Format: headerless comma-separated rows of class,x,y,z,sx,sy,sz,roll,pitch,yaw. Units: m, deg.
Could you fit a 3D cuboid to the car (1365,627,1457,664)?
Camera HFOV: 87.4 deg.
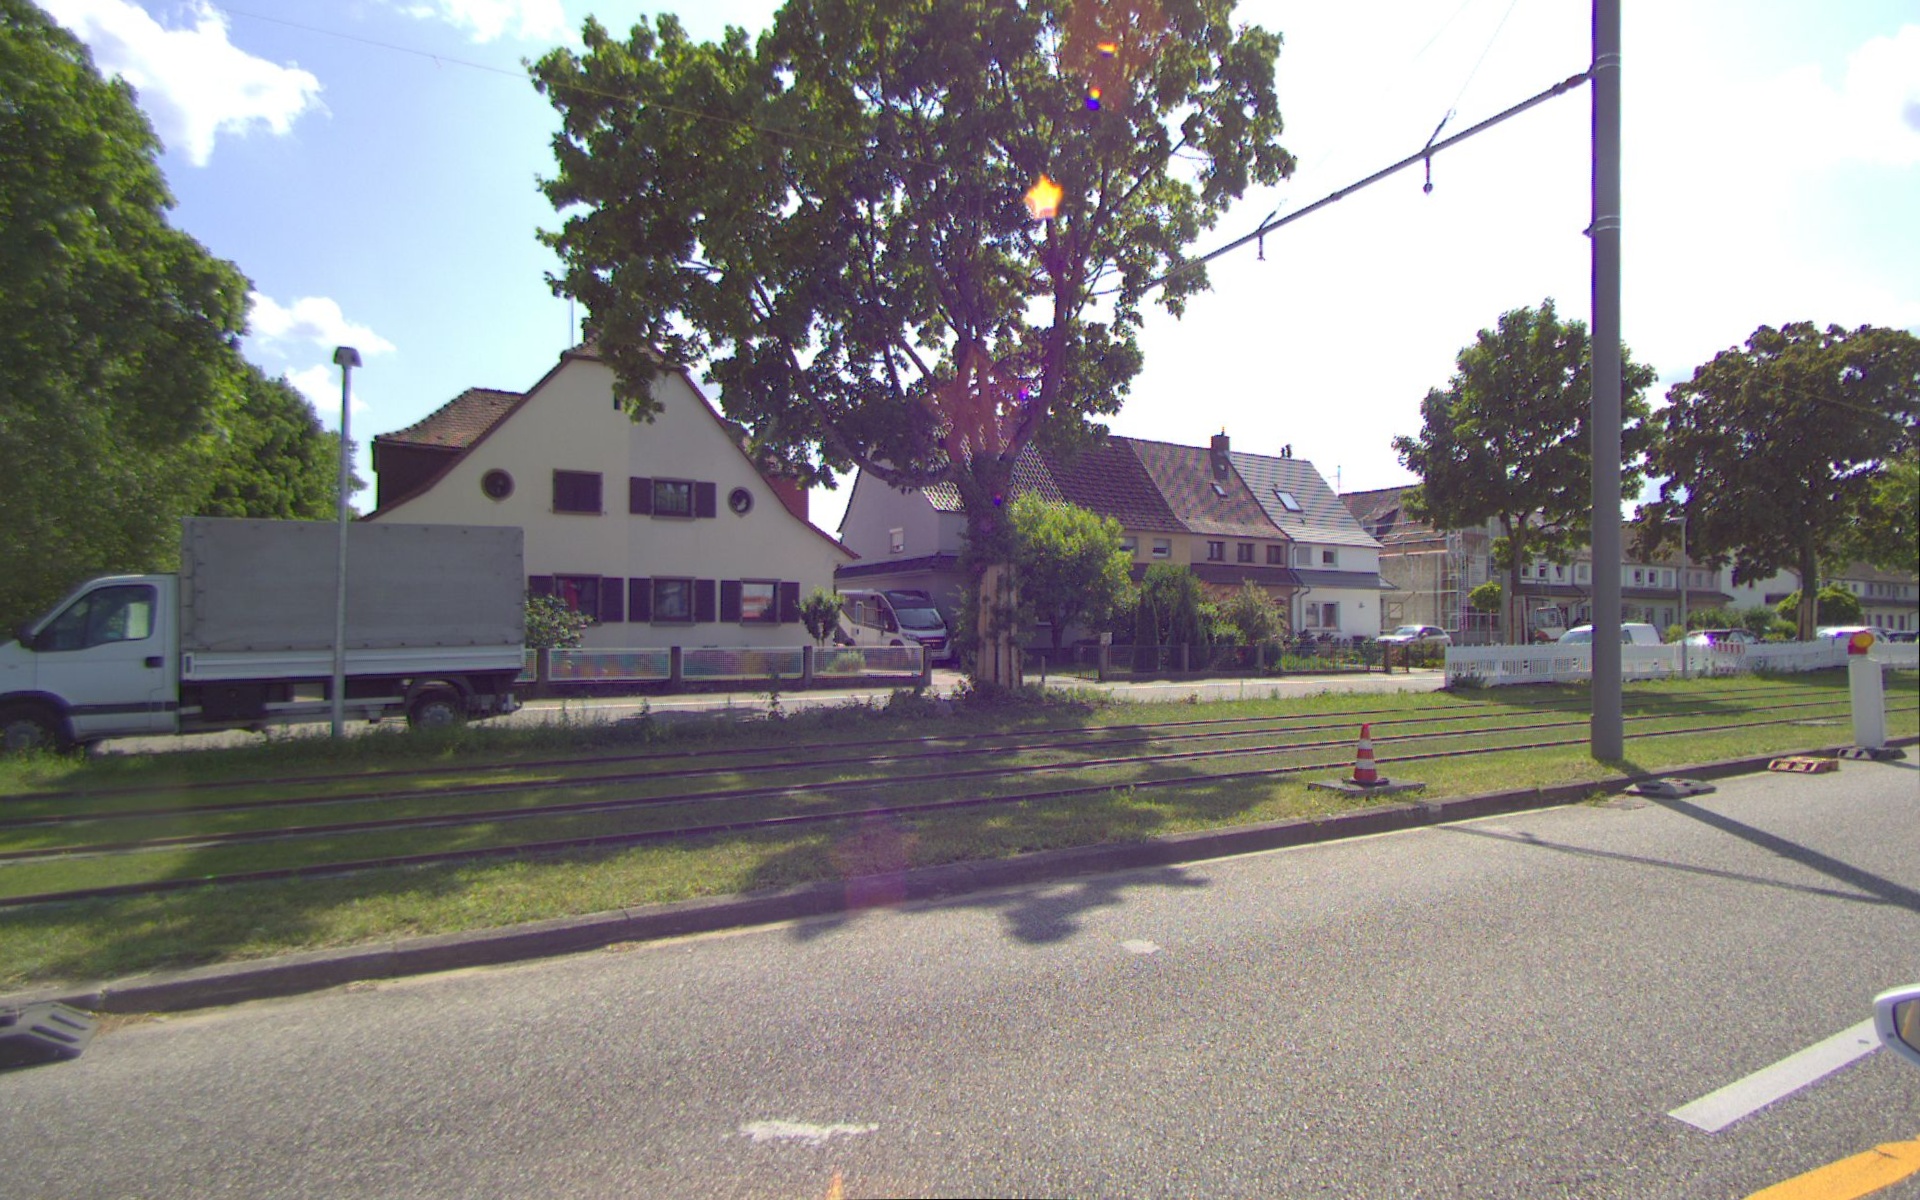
car,19.997,1.987,44.496,3.952,1.539,1.768,1,-2,-30

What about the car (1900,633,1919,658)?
car,70.038,3.302,72.747,4.079,1.745,1.768,1,-2,-30

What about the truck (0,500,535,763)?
truck,-8.827,0.399,12.972,5.906,2.817,2.255,1,-2,-31

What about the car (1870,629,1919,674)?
car,40.653,2.162,42.697,4.079,1.829,1.768,1,-2,-30

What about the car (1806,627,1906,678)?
car,35.369,2.028,39.641,4.079,1.892,1.768,1,-2,-30

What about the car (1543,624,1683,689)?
car,19.563,1.641,30.053,4.312,1.845,1.768,1,-2,-30

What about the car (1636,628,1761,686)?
car,24.264,1.826,32.982,4.177,1.797,1.768,1,-2,-30

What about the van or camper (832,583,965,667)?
van or camper,-2.368,0.934,36.652,2.269,2.801,6.051,1,-2,-32
